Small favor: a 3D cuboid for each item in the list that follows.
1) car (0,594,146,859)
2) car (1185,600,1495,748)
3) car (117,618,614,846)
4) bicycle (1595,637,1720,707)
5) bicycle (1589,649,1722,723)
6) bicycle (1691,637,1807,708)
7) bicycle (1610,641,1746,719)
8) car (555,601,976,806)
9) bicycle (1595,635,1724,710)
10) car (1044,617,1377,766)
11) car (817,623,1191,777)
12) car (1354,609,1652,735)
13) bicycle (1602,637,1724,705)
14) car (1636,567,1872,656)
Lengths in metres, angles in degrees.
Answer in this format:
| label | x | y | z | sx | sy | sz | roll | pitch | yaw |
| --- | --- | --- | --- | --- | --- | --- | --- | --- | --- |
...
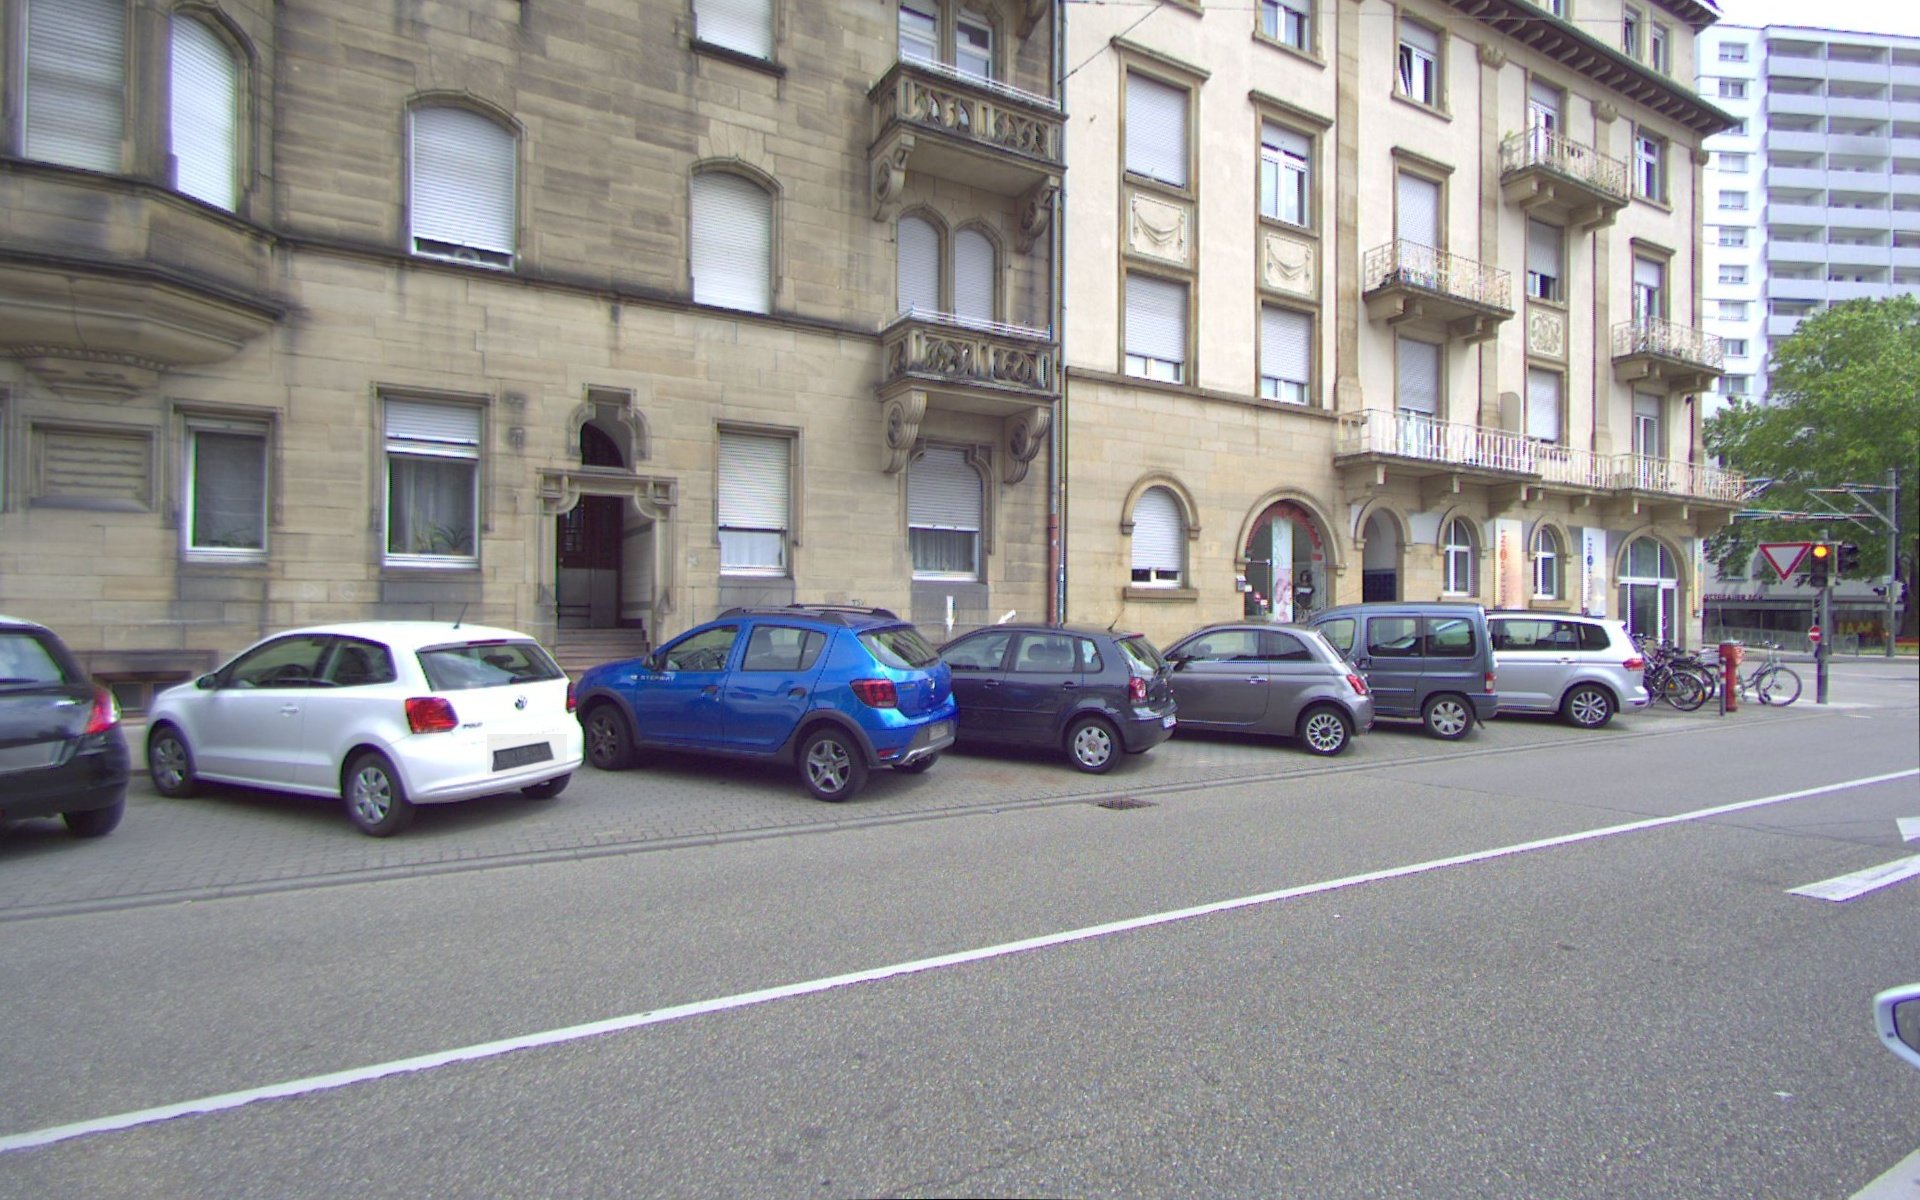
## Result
| label | x | y | z | sx | sy | sz | roll | pitch | yaw |
| --- | --- | --- | --- | --- | --- | --- | --- | --- | --- |
| car | -7.551 | 0.766 | 6.808 | 3.939 | 1.585 | 1.794 | 0 | -1 | 29 |
| car | 5.364 | 0.968 | 14.465 | 3.934 | 1.903 | 1.796 | 0 | -1 | 22 |
| car | -4.849 | 0.904 | 8.211 | 3.616 | 1.501 | 1.741 | 0 | -1 | 25 |
| bicycle | 13.013 | 1.314 | 18.786 | 0.588 | 1.135 | 1.796 | 1 | 1 | -37 |
| bicycle | 11.684 | 1.419 | 16.943 | 0.586 | 1.135 | 1.805 | 1 | -1 | -23 |
| bicycle | 14.876 | 1.342 | 19.002 | 0.489 | 1.182 | 1.878 | 1 | 1 | -9 |
| bicycle | 12.279 | 1.337 | 17.238 | 0.586 | 1.135 | 1.803 | 1 | 2 | -25 |
| car | -1.882 | 0.865 | 9.762 | 3.706 | 1.673 | 1.723 | 0 | -1 | 24 |
| bicycle | 12.606 | 1.279 | 18.158 | 0.588 | 1.182 | 1.796 | 1 | 1 | -37 |
| car | 3.239 | 1.072 | 12.993 | 3.934 | 1.673 | 1.796 | 0 | -1 | 22 |
| car | 0.506 | 1.003 | 11.371 | 3.830 | 1.463 | 1.836 | 0 | -1 | 25 |
| car | 8.324 | 1.046 | 15.831 | 3.934 | 1.797 | 1.796 | 0 | -1 | 22 |
| bicycle | 13.460 | 1.332 | 19.284 | 0.588 | 1.135 | 1.796 | 1 | 1 | -37 |
| car | 38.931 | 0.599 | 49.990 | 3.389 | 3.967 | 9.911 | 0 | -1 | -5 |
